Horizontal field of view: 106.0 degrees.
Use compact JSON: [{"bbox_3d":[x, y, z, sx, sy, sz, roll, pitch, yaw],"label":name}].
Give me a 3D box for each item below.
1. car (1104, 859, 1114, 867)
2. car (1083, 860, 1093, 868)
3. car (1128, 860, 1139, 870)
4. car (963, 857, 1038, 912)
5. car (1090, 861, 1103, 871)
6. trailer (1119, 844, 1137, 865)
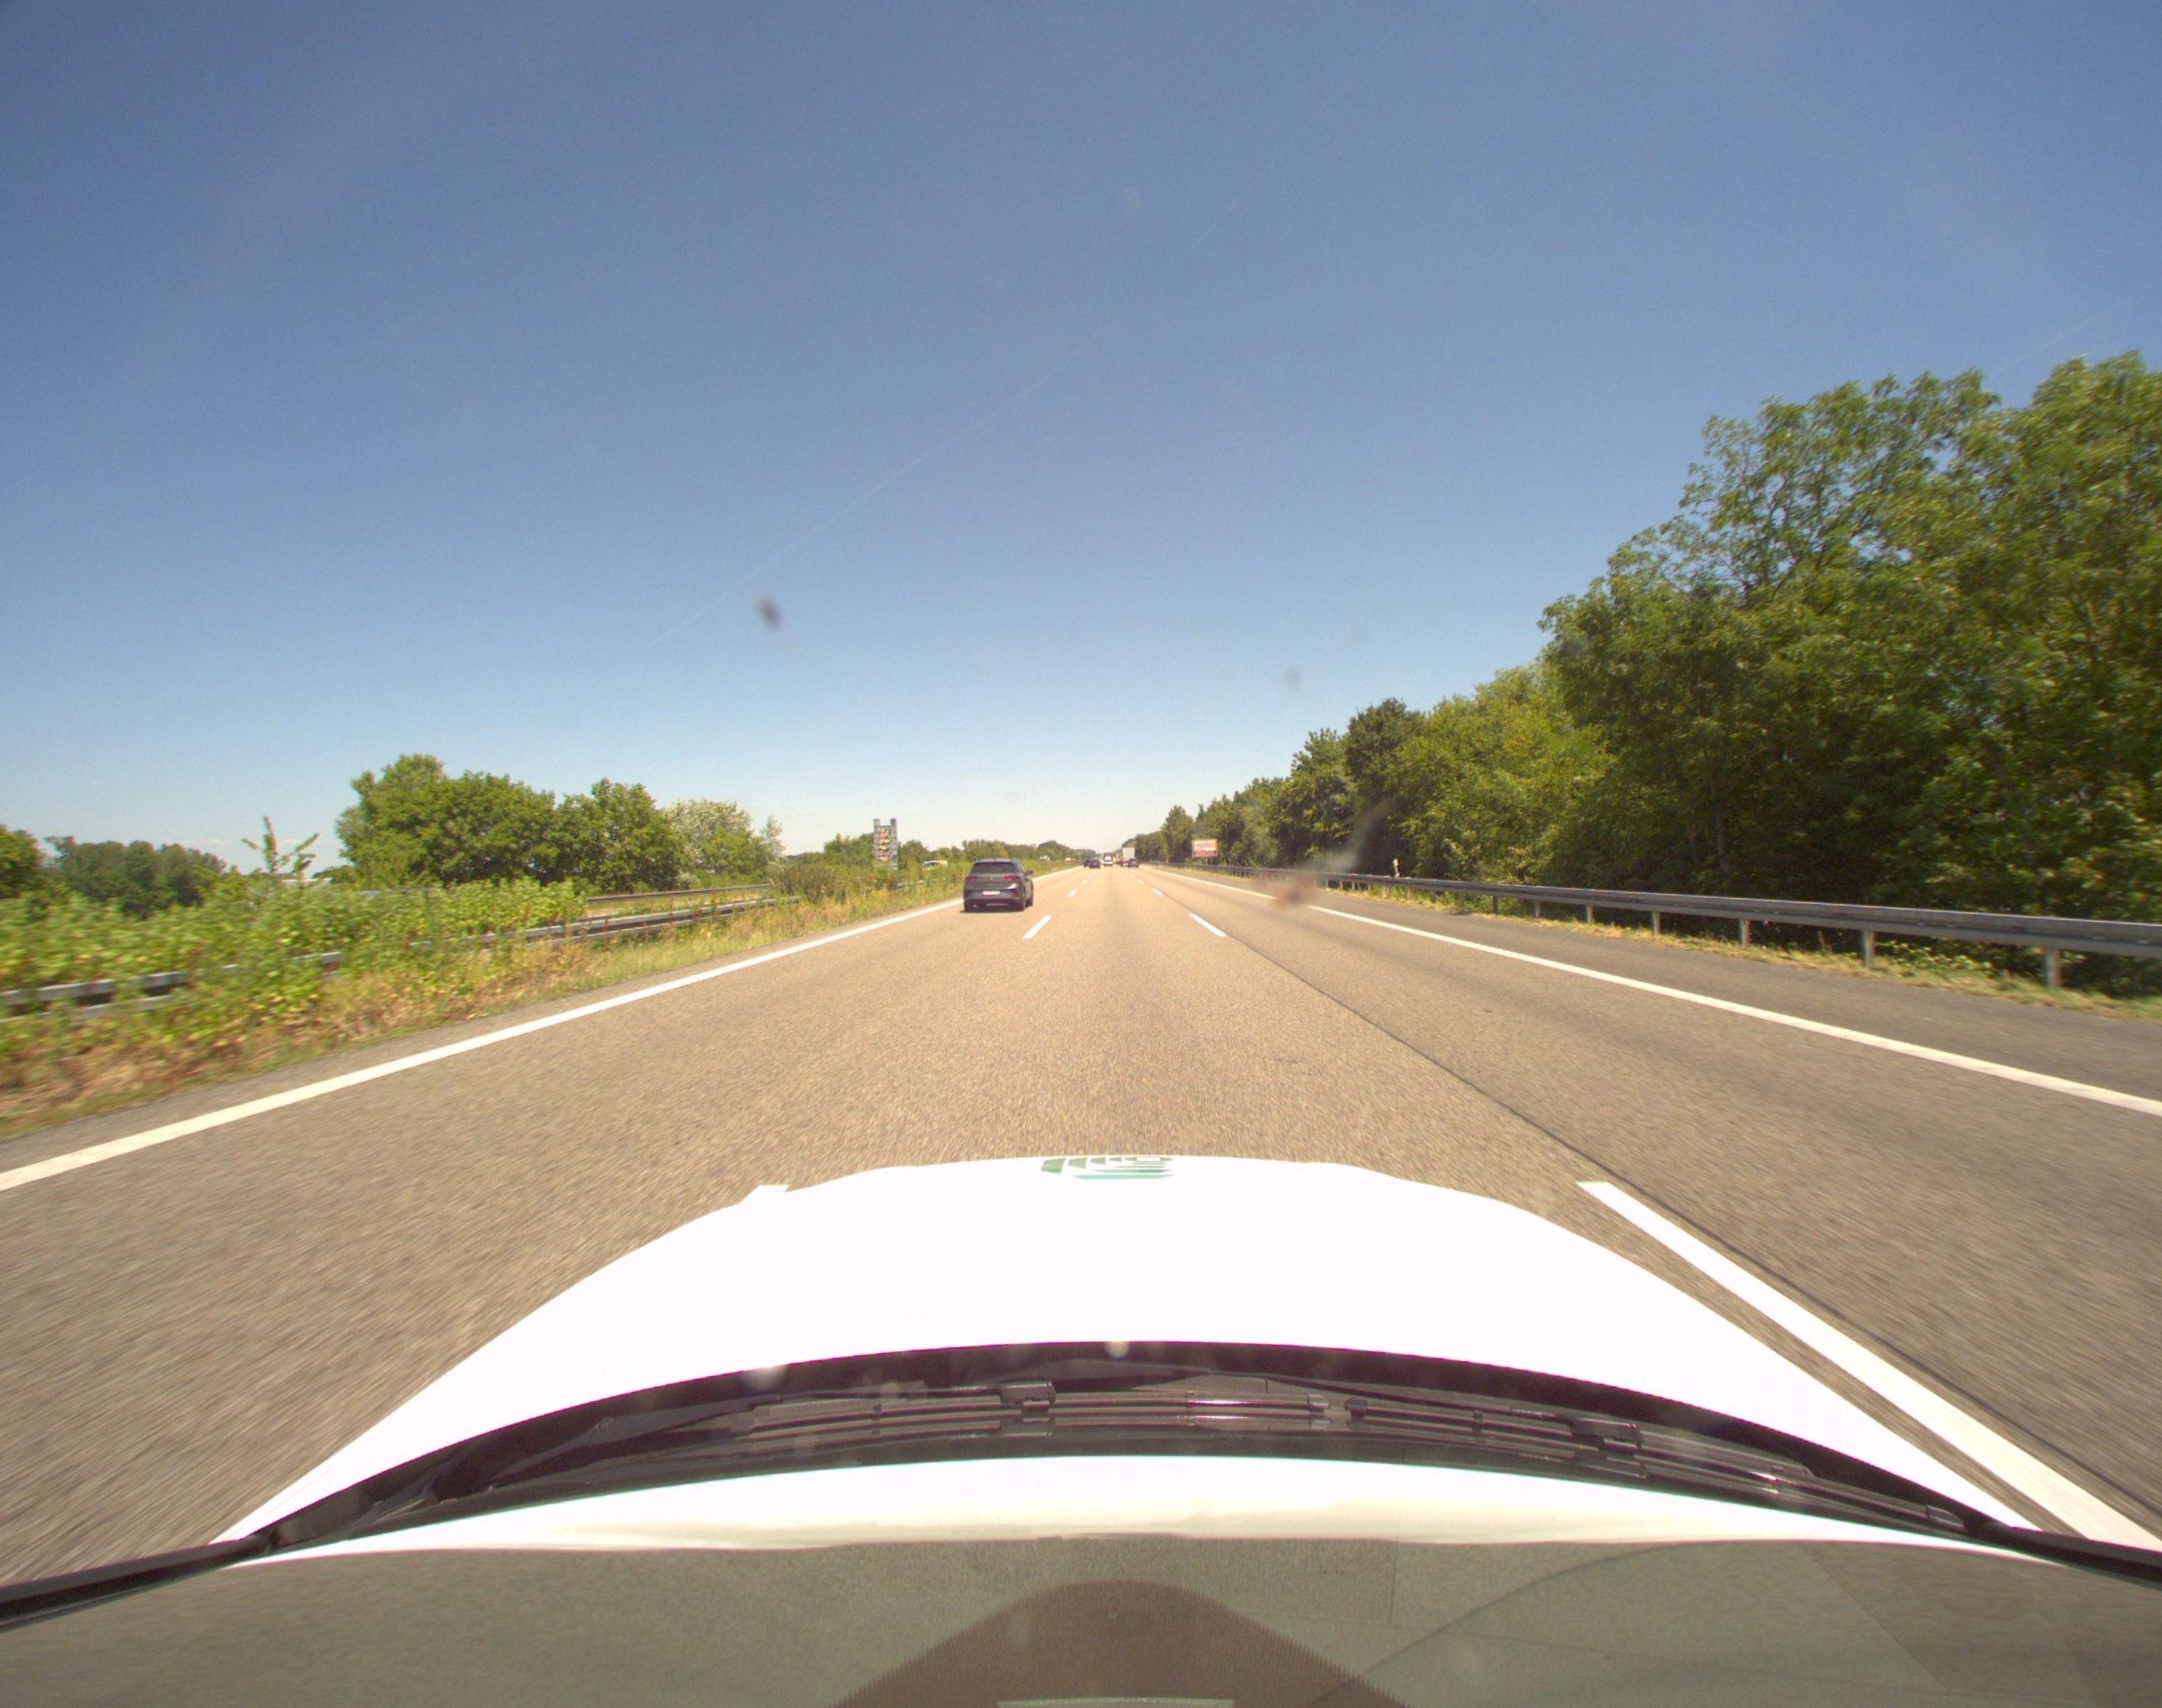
[{"bbox_3d":[5.921,1.917,172.160,1.893,1.531,4.085,0,0,2],"label":"car"},{"bbox_3d":[1.398,2.011,161.252,1.900,1.531,4.287,0,0,2],"label":"car"},{"bbox_3d":[8.967,1.875,138.955,1.838,1.629,4.137,-2,-1,2],"label":"car"},{"bbox_3d":[-2.393,0.872,25.213,1.752,1.531,4.287,0,0,2],"label":"car"},{"bbox_3d":[2.383,1.848,126.431,1.893,1.531,4.085,0,0,2],"label":"car"},{"bbox_3d":[9.861,0.276,172.074,3.421,4.181,13.638,0,-1,2],"label":"trailer"}]
